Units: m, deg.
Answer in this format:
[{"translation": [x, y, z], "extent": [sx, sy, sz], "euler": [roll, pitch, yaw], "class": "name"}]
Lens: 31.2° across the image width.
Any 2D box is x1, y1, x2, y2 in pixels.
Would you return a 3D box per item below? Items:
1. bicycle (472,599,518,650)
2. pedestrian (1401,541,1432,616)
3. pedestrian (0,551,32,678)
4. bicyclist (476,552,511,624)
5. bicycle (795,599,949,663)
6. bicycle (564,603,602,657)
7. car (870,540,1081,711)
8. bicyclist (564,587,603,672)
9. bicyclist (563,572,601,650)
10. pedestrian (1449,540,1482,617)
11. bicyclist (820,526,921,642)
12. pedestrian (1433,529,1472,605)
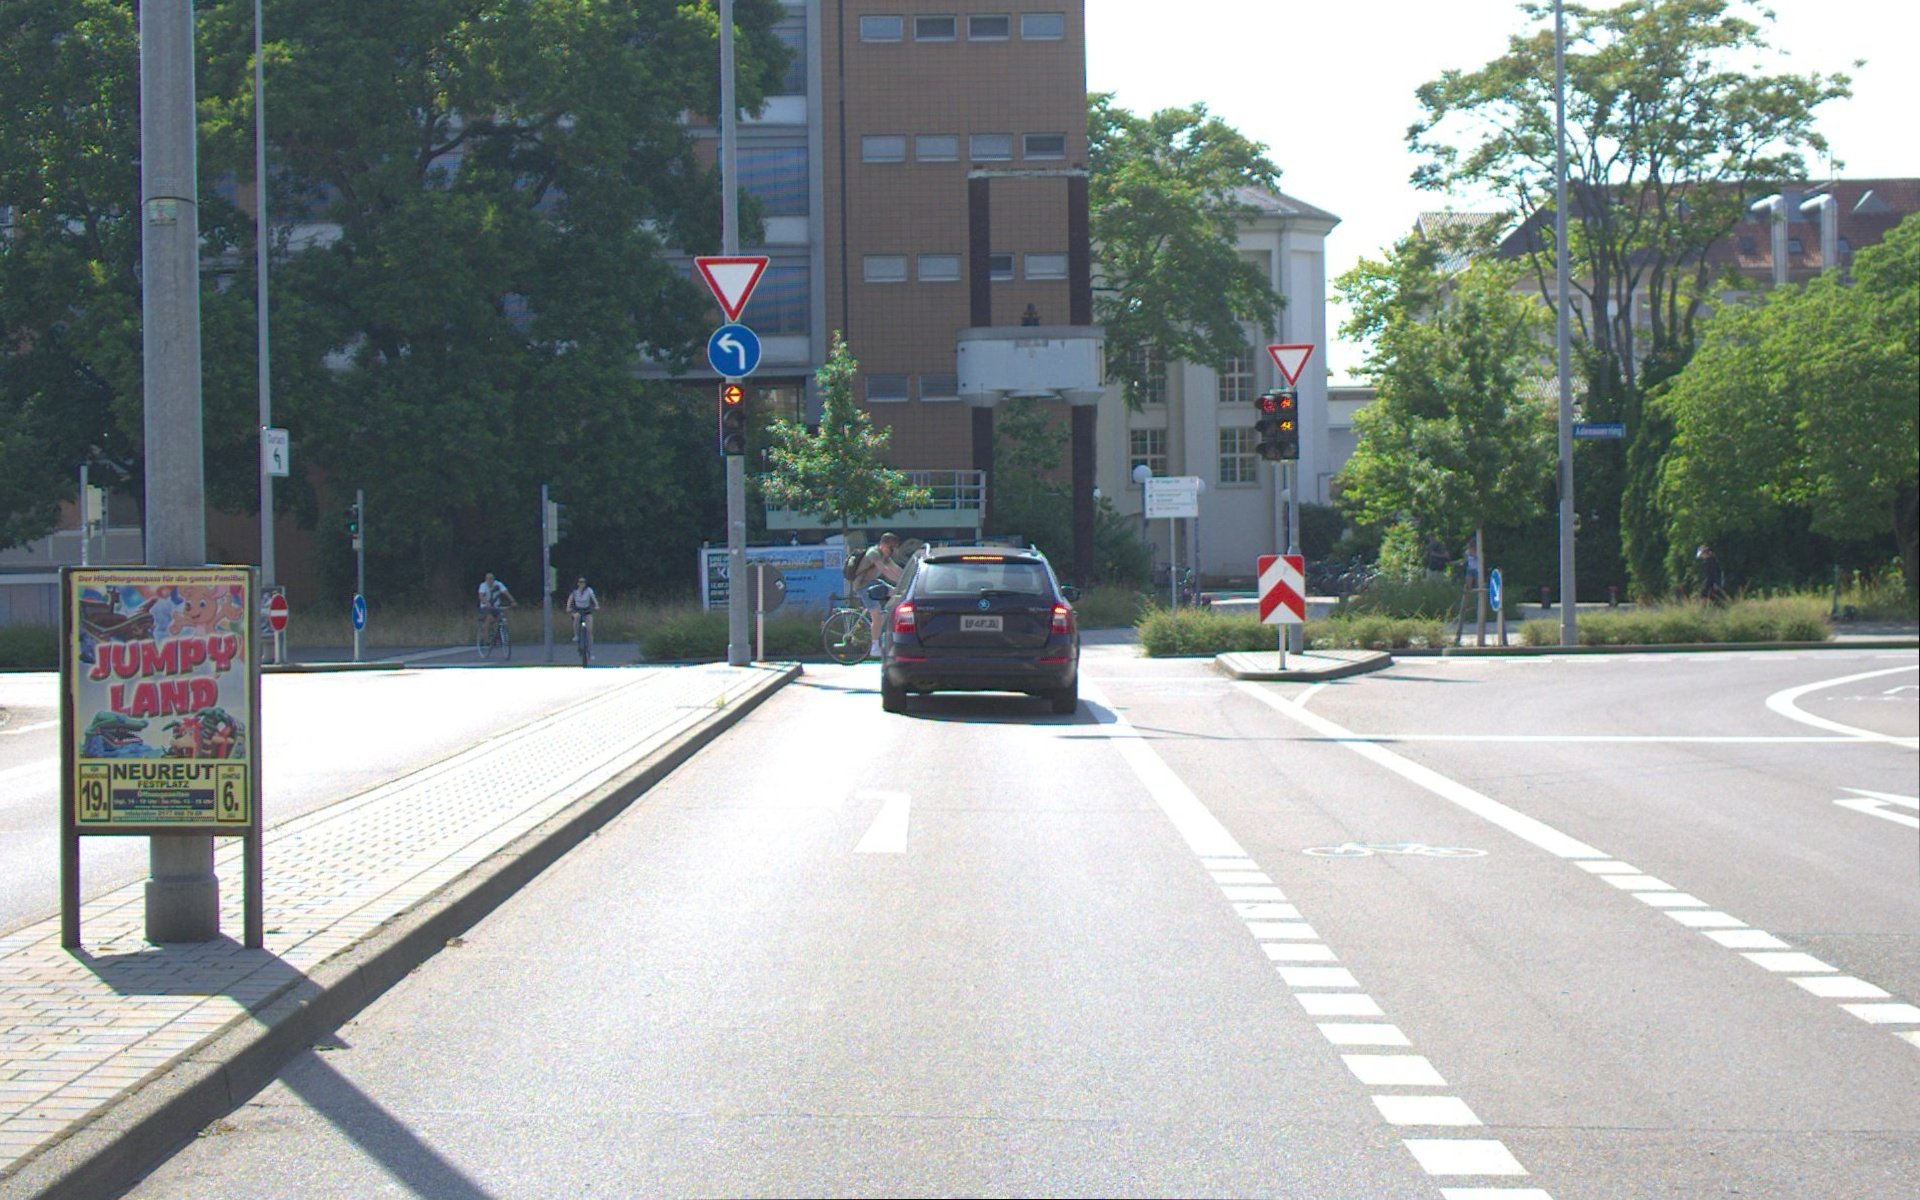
[{"translation": [-9.405, 0.485, 69.610], "extent": [0.704, 0.974, 2.031], "euler": [-1, 1, -2], "class": "bicycle"}, {"translation": [11.470, -0.531, 86.325], "extent": [0.597, 1.868, 0.638], "euler": [1, 0, 23], "class": "pedestrian"}, {"translation": [-15.237, 0.228, 54.820], "extent": [0.614, 2.007, 0.687], "euler": [1, 0, -37], "class": "pedestrian"}, {"translation": [-9.420, -0.242, 69.458], "extent": [0.539, 1.412, 1.030], "euler": [-2, 0, -1], "class": "bicyclist"}, {"translation": [-1.138, 0.402, 44.328], "extent": [1.891, 0.790, 0.560], "euler": [-1, 2, 13], "class": "bicycle"}, {"translation": [-7.203, 0.571, 65.729], "extent": [0.618, 0.957, 1.968], "euler": [-3, 1, -4], "class": "bicycle"}, {"translation": [0.155, 0.185, 31.214], "extent": [1.780, 1.438, 3.818], "euler": [1, 1, 1], "class": "car"}, {"translation": [-7.223, 0.567, 65.980], "extent": [0.618, 1.576, 1.014], "euler": [-3, 1, -4], "class": "bicyclist"}, {"translation": [-7.223, 0.205, 65.705], "extent": [0.618, 1.438, 0.921], "euler": [-3, 1, -4], "class": "bicyclist"}, {"translation": [12.530, -0.541, 85.218], "extent": [0.637, 1.868, 0.796], "euler": [-3, 1, 0], "class": "pedestrian"}, {"translation": [-1.146, -0.209, 44.314], "extent": [1.166, 1.469, 0.564], "euler": [-1, 1, 13], "class": "bicyclist"}, {"translation": [12.344, -0.825, 86.114], "extent": [0.794, 1.868, 0.638], "euler": [-2, 1, 17], "class": "pedestrian"}]
